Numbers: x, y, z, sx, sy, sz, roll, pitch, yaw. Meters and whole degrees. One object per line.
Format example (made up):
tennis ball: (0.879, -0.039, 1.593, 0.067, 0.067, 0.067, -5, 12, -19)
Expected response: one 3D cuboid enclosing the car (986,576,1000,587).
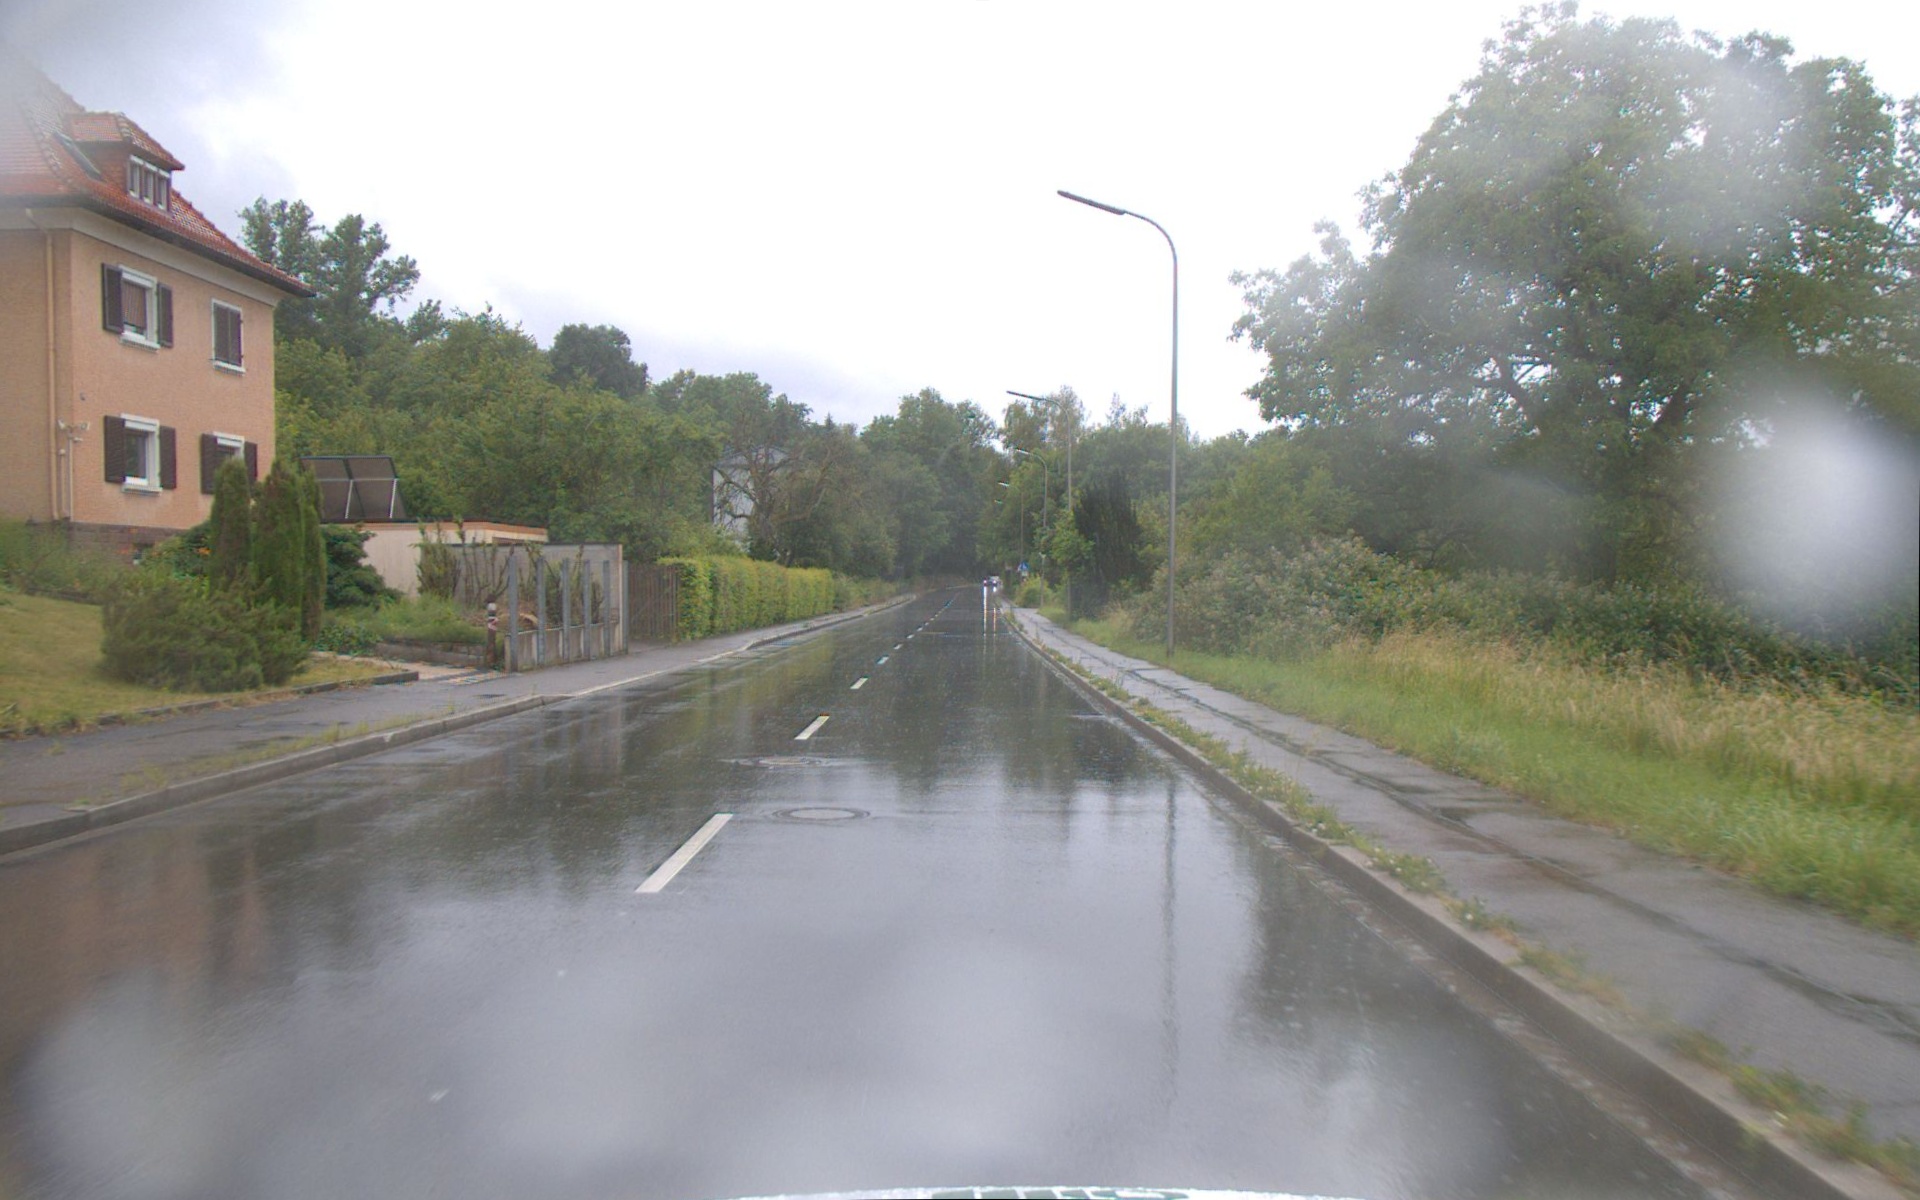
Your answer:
car: (4.689, -2.617, 236.240, 1.952, 1.479, 4.429, 1, 1, 1)
